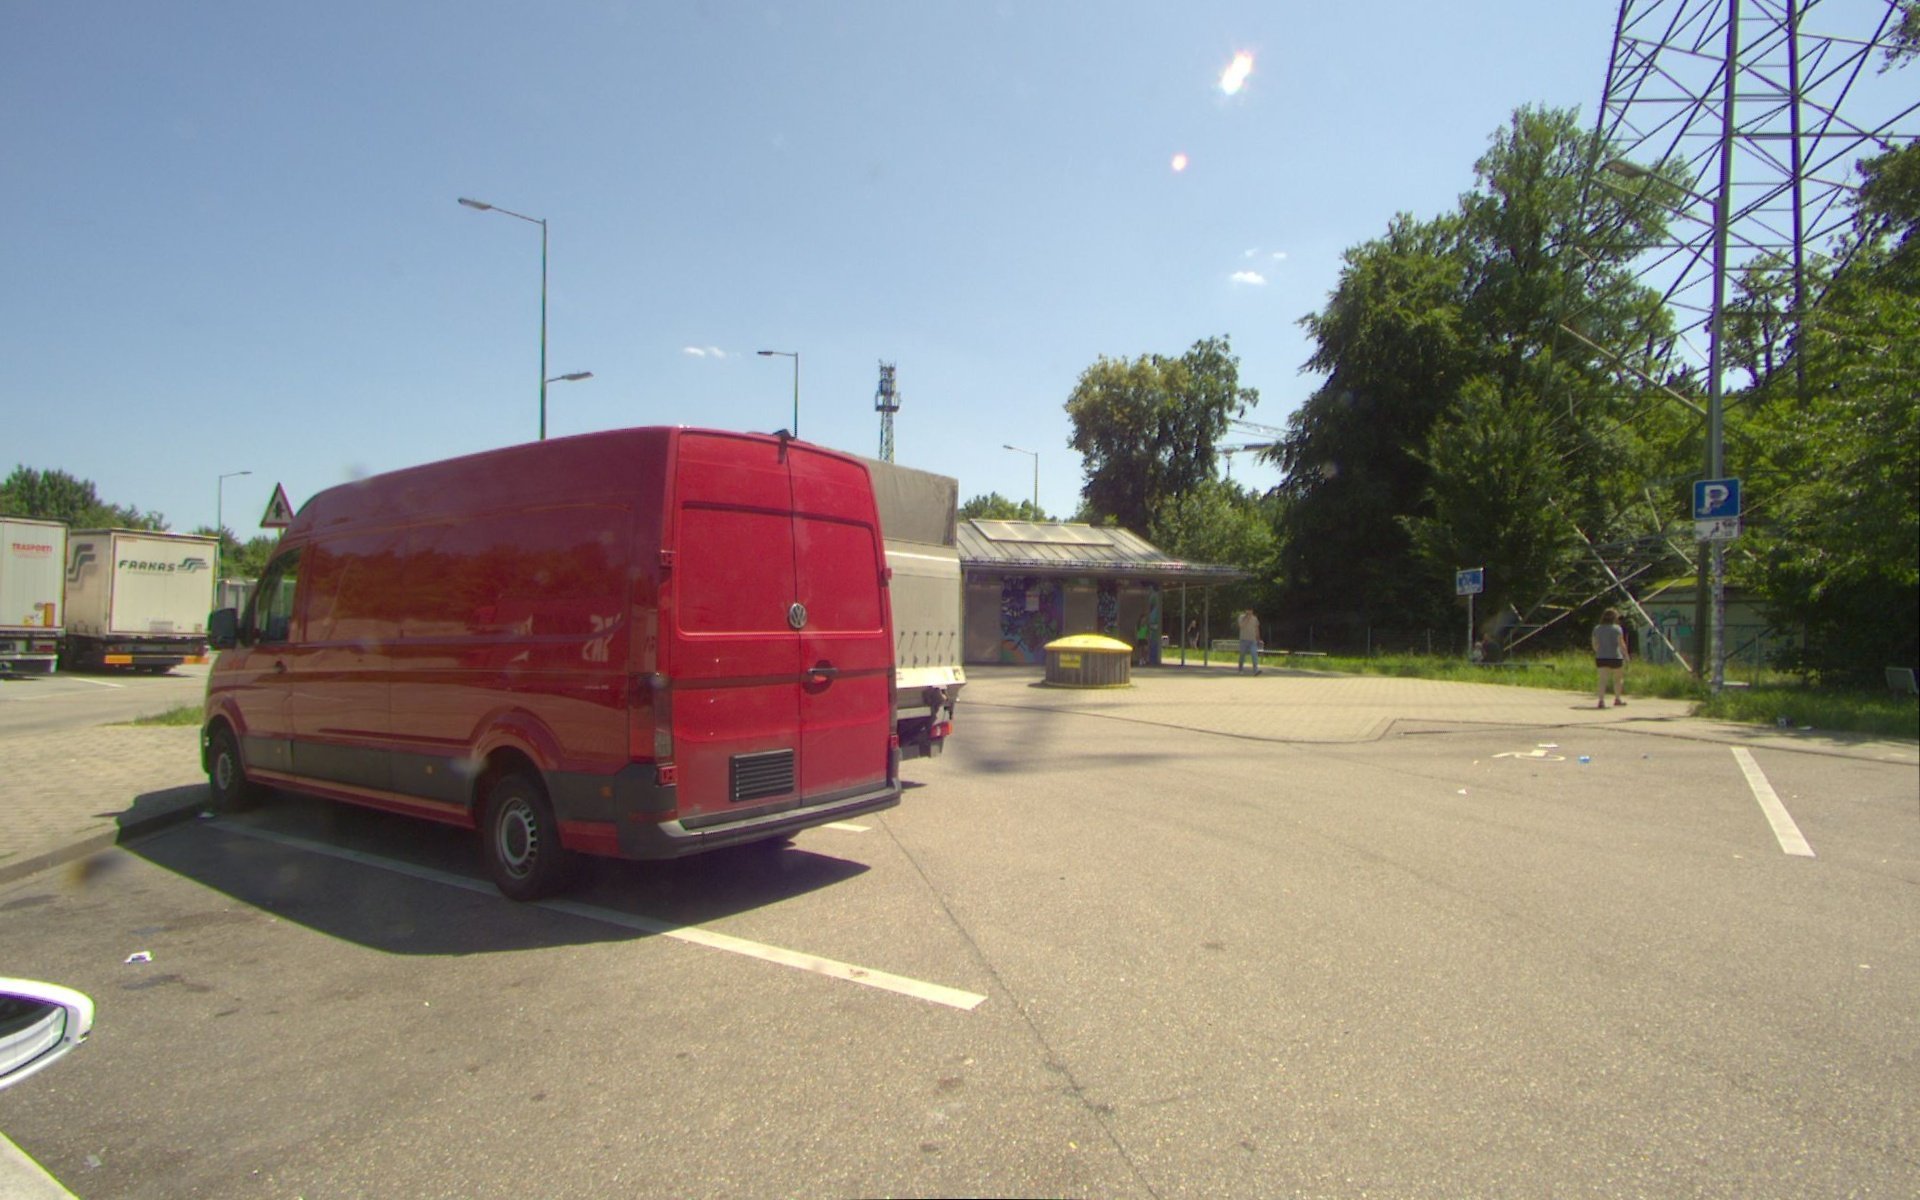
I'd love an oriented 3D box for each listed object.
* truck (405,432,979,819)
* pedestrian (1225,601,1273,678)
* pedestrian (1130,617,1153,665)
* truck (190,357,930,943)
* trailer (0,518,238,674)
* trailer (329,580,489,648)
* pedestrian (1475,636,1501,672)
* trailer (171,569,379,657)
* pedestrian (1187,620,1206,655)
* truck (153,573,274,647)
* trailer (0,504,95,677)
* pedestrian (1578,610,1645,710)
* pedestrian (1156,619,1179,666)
[{"bbox_3d":[-3.075,0.275,10.502,6.372,2.944,2.411,-1,-2,37],"label":"truck"},{"bbox_3d":[7.426,1.006,25.756,0.799,1.929,0.920,0,-1,-15],"label":"pedestrian"},{"bbox_3d":[5.297,1.206,29.257,0.532,1.392,0.583,0,-1,0],"label":"pedestrian"},{"bbox_3d":[-3.326,0.303,7.318,6.372,2.685,2.005,-1,-2,37],"label":"truck"},{"bbox_3d":[-27.600,-0.161,31.593,13.562,4.162,2.854,1,-2,32],"label":"trailer"},{"bbox_3d":[-36.150,0.857,65.323,13.562,3.955,2.854,1,-2,32],"label":"trailer"},{"bbox_3d":[14.658,1.492,27.795,0.439,0.987,0.460,0,-1,-19],"label":"pedestrian"},{"bbox_3d":[-32.460,0.494,47.083,13.562,3.646,2.854,1,-2,32],"label":"trailer"},{"bbox_3d":[10.954,1.737,46.367,0.799,1.639,0.920,0,-1,12],"label":"pedestrian"},{"bbox_3d":[-37.531,0.486,50.308,5.887,3.406,2.862,1,-2,32],"label":"truck"},{"bbox_3d":[-28.673,-0.334,28.006,13.562,4.162,2.854,1,-2,32],"label":"trailer"},{"bbox_3d":[11.136,1.017,17.124,0.704,1.670,0.685,0,-1,-27],"label":"pedestrian"},{"bbox_3d":[6.145,1.250,29.672,0.532,1.392,0.583,0,-1,0],"label":"pedestrian"}]
